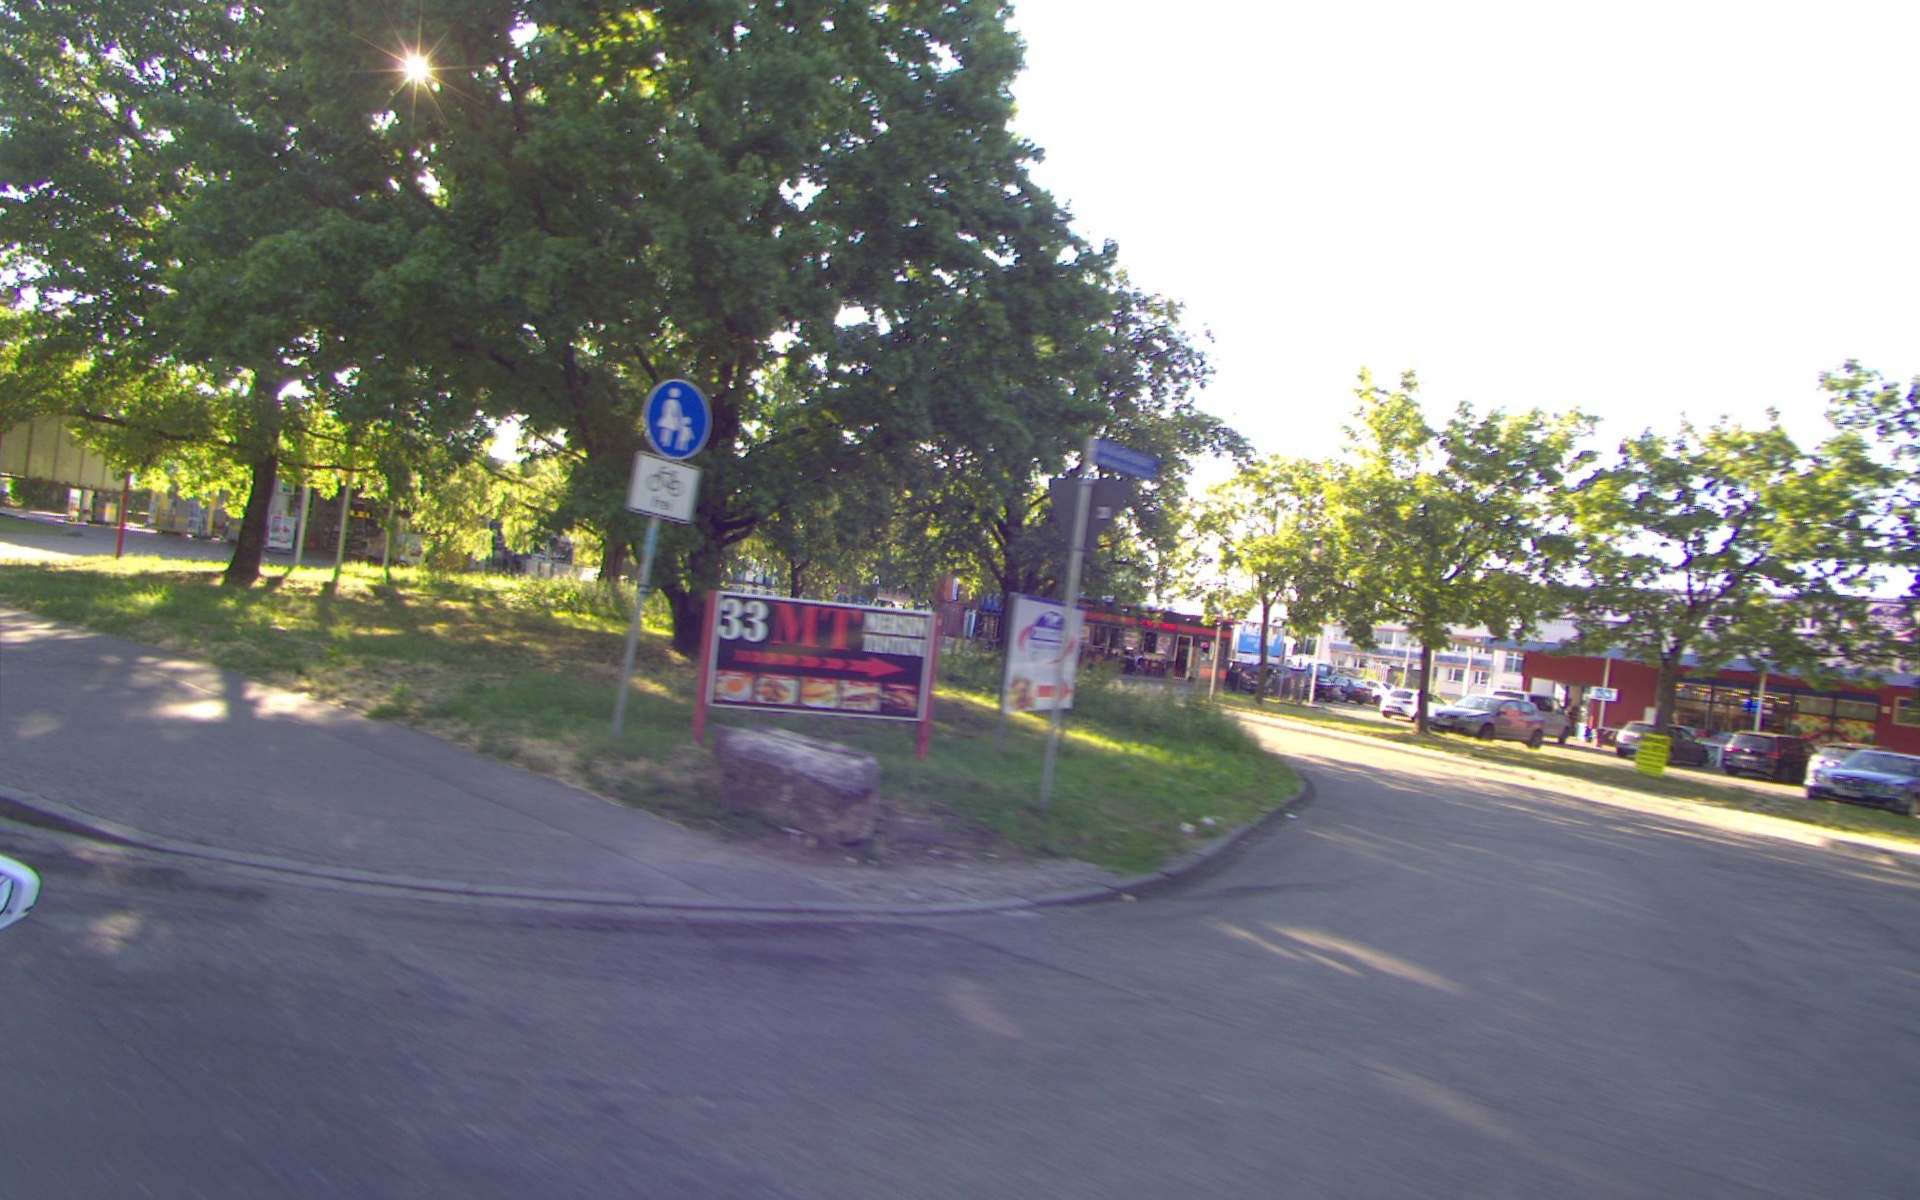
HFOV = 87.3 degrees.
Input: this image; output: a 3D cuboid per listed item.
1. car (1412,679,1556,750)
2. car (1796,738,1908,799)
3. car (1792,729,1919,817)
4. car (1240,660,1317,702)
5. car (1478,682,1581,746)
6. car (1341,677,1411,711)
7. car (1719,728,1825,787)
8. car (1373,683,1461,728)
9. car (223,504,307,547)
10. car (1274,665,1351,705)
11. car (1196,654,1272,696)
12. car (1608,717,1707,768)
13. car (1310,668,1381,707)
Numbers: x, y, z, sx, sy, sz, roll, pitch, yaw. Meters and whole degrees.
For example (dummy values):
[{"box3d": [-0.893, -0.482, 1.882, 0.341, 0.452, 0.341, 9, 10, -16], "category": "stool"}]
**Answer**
[{"box3d": [16.059, 3.519, 30.800, 4.152, 1.492, 1.777, 10, -3, -28], "category": "car"}, {"box3d": [29.366, 5.563, 33.114, 3.518, 1.442, 1.673, 10, -3, -30], "category": "car"}, {"box3d": [20.870, 3.996, 22.570, 4.621, 1.492, 1.776, 11, -3, -29], "category": "car"}, {"box3d": [17.485, 4.441, 55.435, 1.683, 1.707, 3.842, 10, -3, -26], "category": "car"}, {"box3d": [23.736, 4.779, 41.886, 4.613, 1.996, 1.874, 11, -3, -37], "category": "car"}, {"box3d": [25.399, 5.733, 61.554, 1.683, 1.478, 3.625, 10, -3, -26], "category": "car"}, {"box3d": [28.710, 5.568, 35.569, 3.518, 1.518, 1.673, 10, -3, -30], "category": "car"}, {"box3d": [21.148, 4.886, 46.538, 3.906, 1.498, 1.672, 11, -3, -31], "category": "car"}, {"box3d": [-38.407, -4.121, 55.568, 4.320, 1.749, 1.817, 7, 0, 26], "category": "car"}, {"box3d": [19.746, 4.742, 56.451, 1.683, 1.707, 3.842, 10, -3, -26], "category": "car"}, {"box3d": [14.713, 3.999, 54.246, 1.683, 1.707, 3.842, 10, -3, -26], "category": "car"}, {"box3d": [26.301, 5.366, 37.919, 3.518, 1.365, 1.673, 10, -3, -30], "category": "car"}, {"box3d": [22.863, 5.181, 59.774, 1.683, 1.707, 3.625, 10, -3, -26], "category": "car"}]
